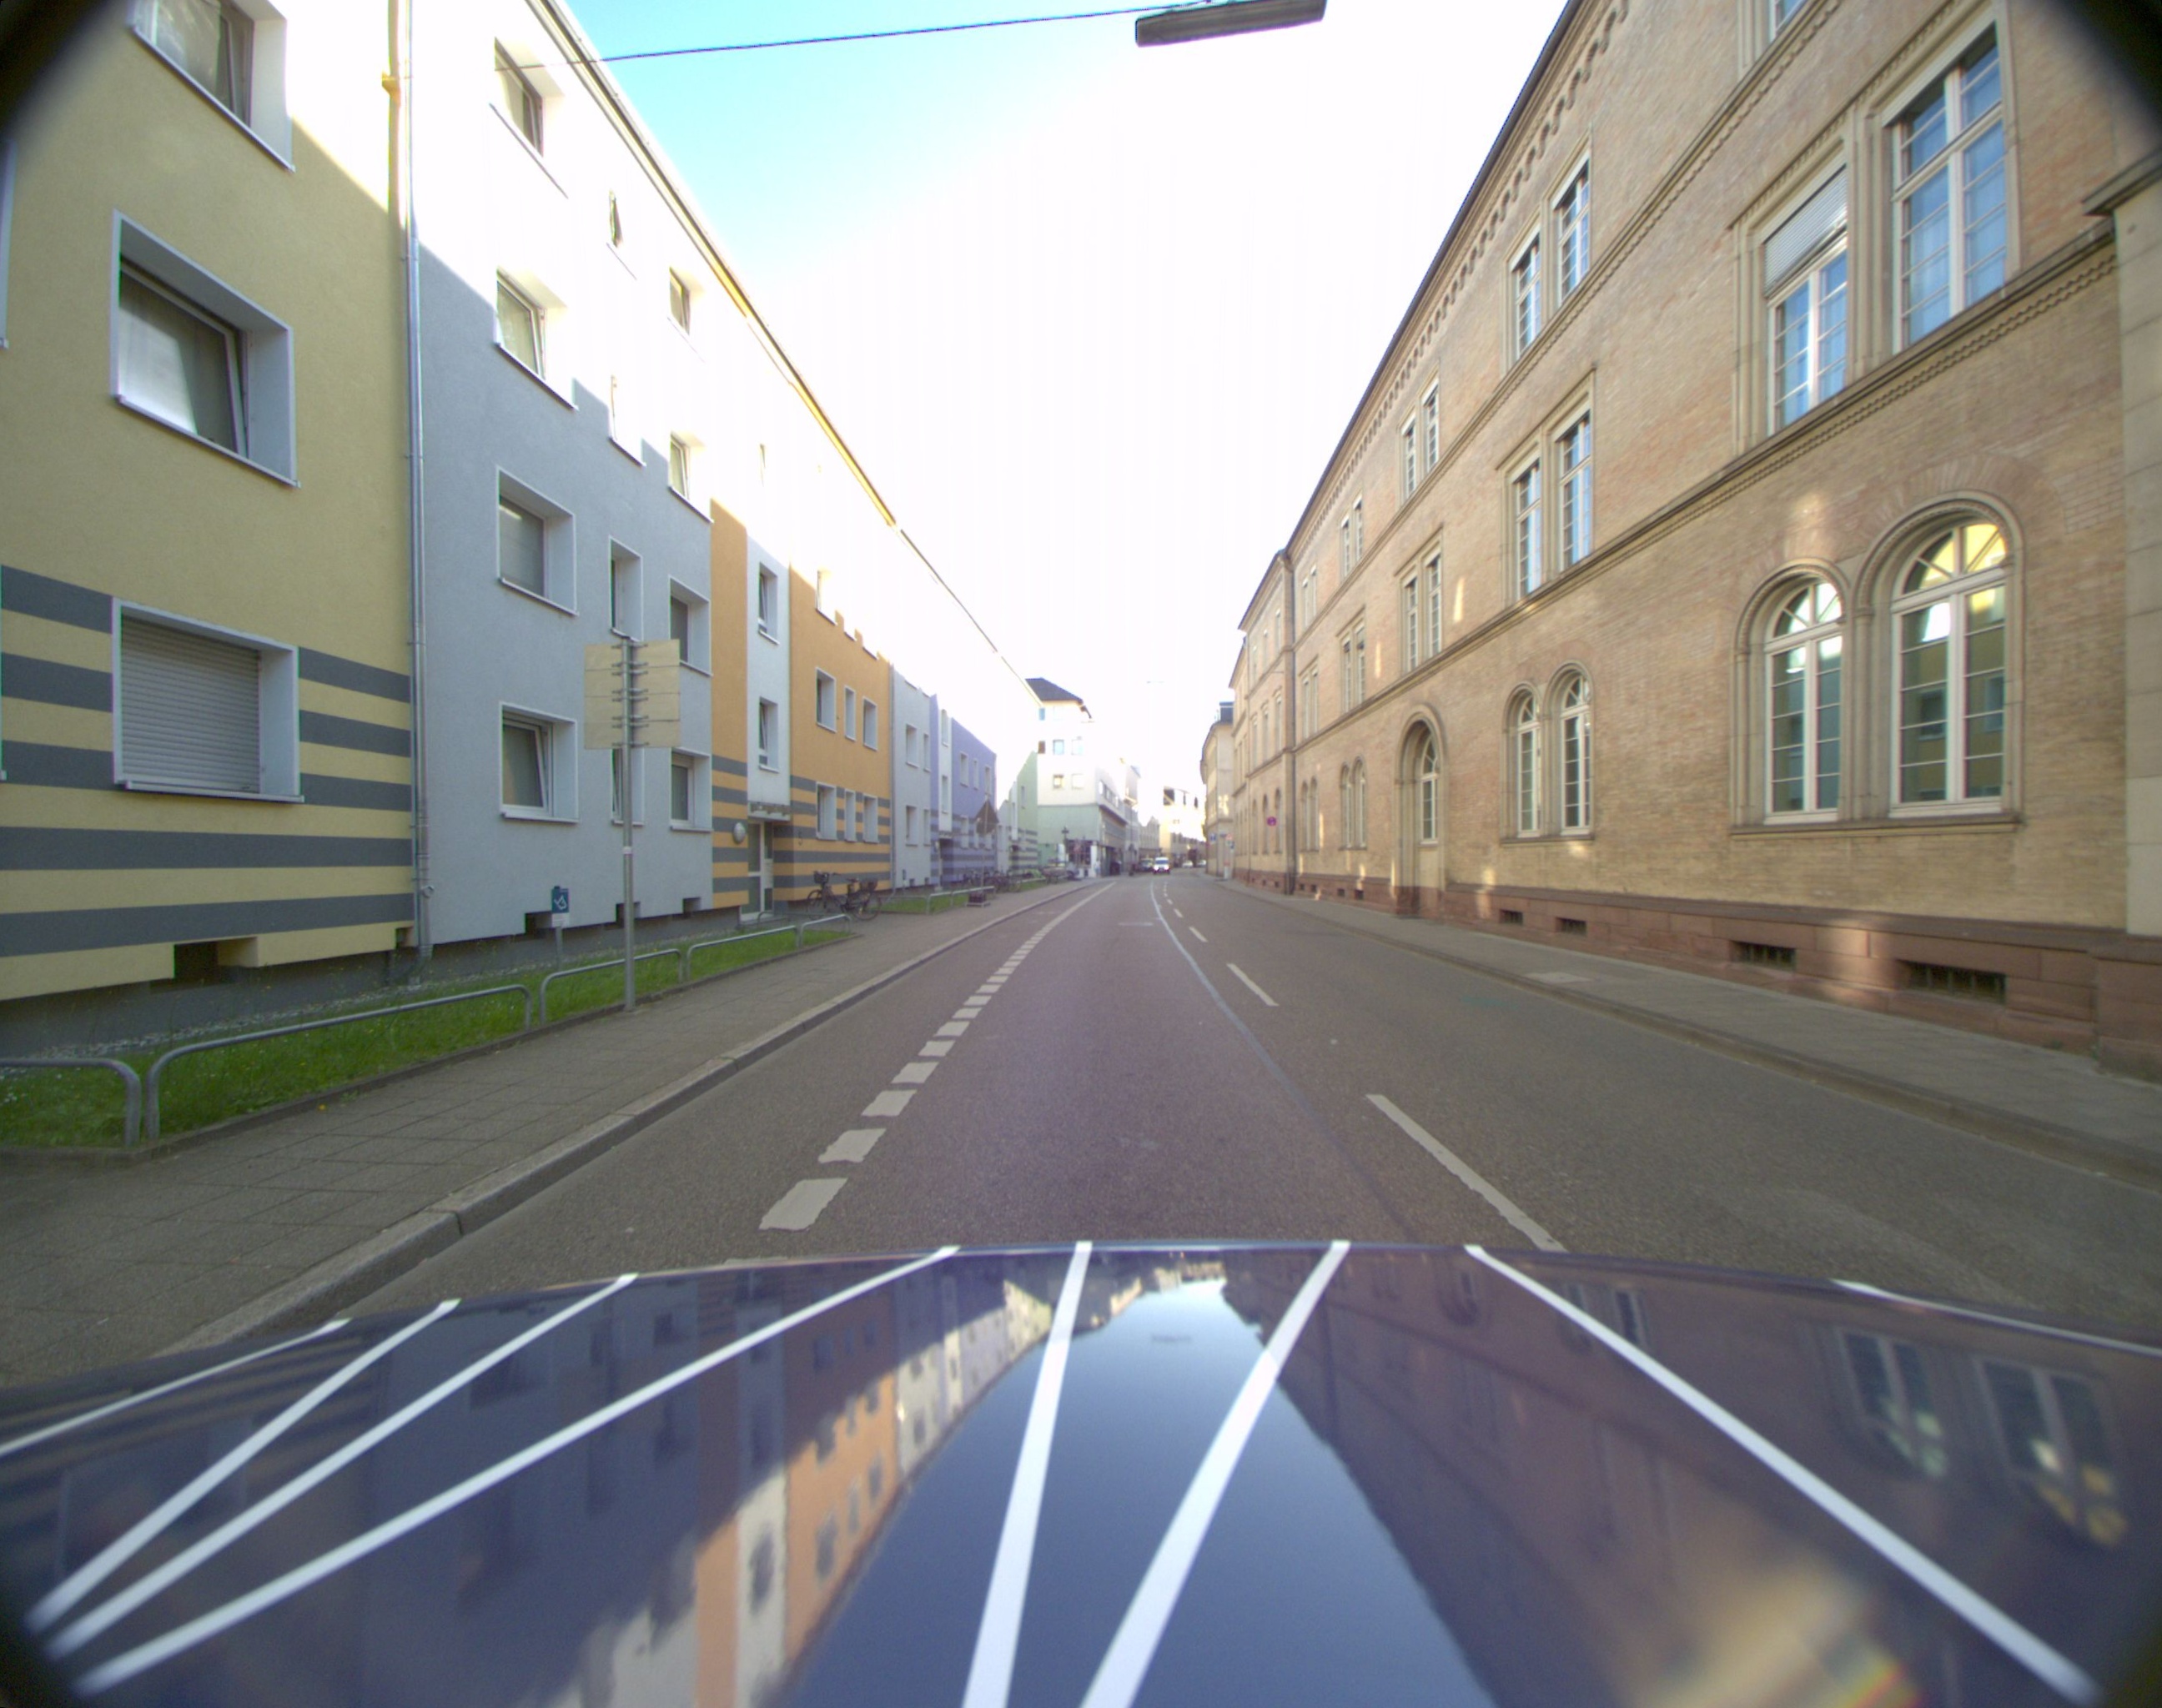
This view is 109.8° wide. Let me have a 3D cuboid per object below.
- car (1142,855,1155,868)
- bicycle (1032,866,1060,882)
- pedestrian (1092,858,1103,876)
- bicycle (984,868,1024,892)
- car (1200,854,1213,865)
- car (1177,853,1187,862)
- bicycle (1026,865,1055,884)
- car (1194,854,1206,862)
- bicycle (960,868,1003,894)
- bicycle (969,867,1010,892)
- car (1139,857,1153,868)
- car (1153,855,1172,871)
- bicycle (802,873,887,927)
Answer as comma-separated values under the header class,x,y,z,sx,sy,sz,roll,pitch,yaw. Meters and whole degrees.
class,x,y,z,sx,sy,sz,roll,pitch,yaw
car,9.449,0.995,106.039,1.535,1.714,3.741,0,0,8
bicycle,-2.187,1.277,47.573,1.711,0.972,0.516,1,0,-2
pedestrian,1.383,1.086,62.976,0.707,1.510,0.662,0,0,17
bicycle,-3.404,1.150,33.754,1.711,1.029,0.636,1,0,-2
car,19.931,0.804,120.321,1.662,1.714,3.743,0,0,14
car,19.902,0.619,149.650,1.534,1.714,3.743,0,0,16
bicycle,-2.435,1.224,46.113,1.711,1.097,0.584,1,0,-2
car,25.674,0.810,163.640,1.925,1.714,4.236,0,0,19
bicycle,-4.165,1.124,31.850,1.710,1.039,0.636,1,0,2
bicycle,-3.963,1.099,32.993,1.710,1.075,0.636,1,0,1
car,8.623,1.107,100.764,1.634,1.405,3.687,0,0,8
car,8.902,0.930,82.853,1.922,1.712,4.963,0,0,7
bicycle,-5.303,1.019,17.097,1.711,1.152,0.636,1,0,-2
